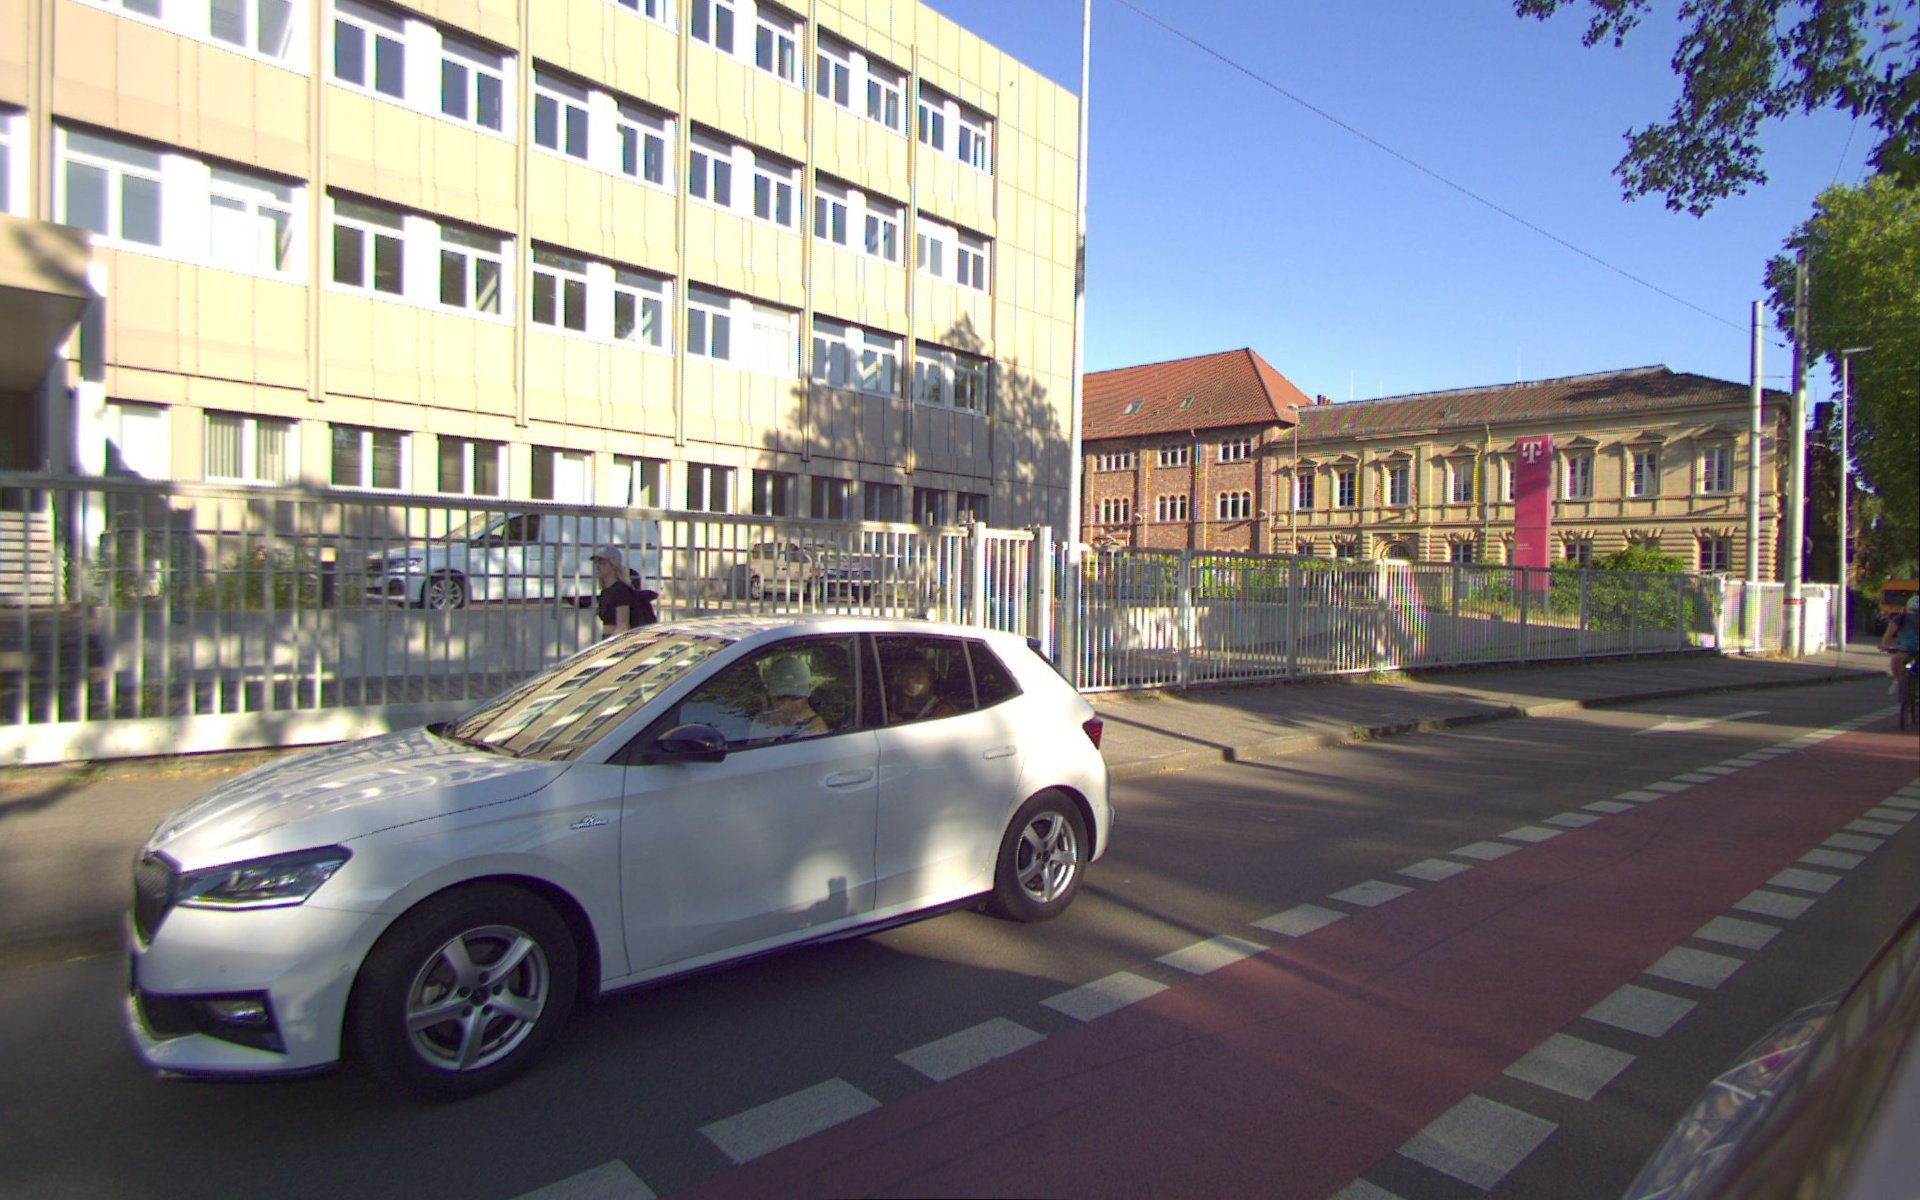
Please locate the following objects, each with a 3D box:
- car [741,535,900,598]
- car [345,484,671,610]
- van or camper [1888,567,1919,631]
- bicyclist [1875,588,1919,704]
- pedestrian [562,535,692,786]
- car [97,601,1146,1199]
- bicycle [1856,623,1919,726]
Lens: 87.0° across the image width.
[{"bbox_3d":[-3.929,-0.927,27.998,4.563,1.601,1.968,2,2,44],"label":"car"},{"bbox_3d":[-7.591,-0.827,17.333,1.994,1.865,4.709,2,2,44],"label":"car"},{"bbox_3d":[41.135,-0.059,43.246,1.994,2.626,5.537,0,0,44],"label":"van or camper"},{"bbox_3d":[12.254,0.566,12.892,0.843,1.440,0.728,0,0,-36],"label":"bicyclist"},{"bbox_3d":[-2.522,0.419,7.663,0.757,1.784,0.592,0,1,-41],"label":"pedestrian"},{"bbox_3d":[-1.102,0.726,4.408,4.005,1.406,1.703,0,1,-42],"label":"car"},{"bbox_3d":[12.230,0.911,12.869,2.263,1.158,0.765,0,1,-36],"label":"bicycle"}]
